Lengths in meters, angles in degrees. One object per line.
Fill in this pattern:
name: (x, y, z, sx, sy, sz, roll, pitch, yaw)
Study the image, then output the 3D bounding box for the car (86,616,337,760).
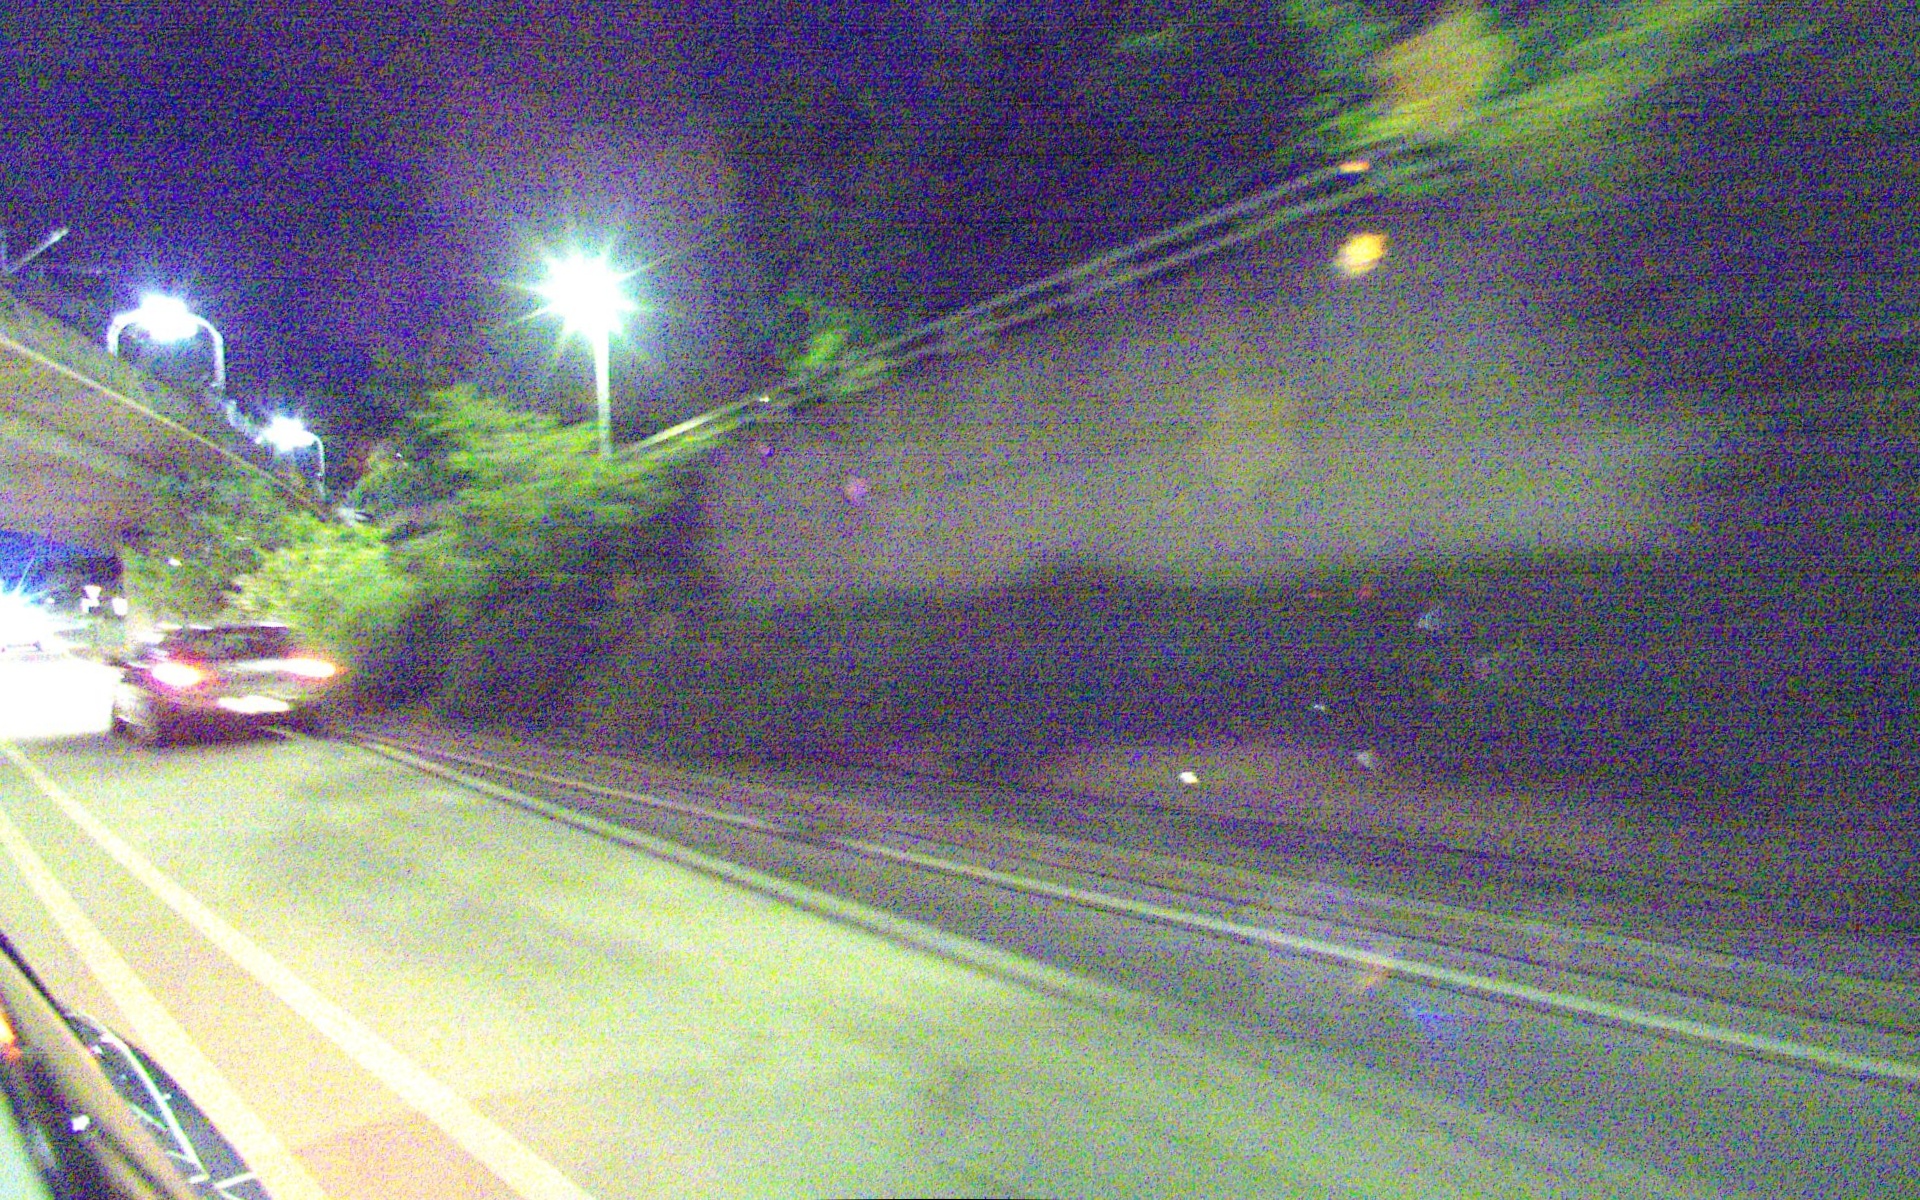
car: (-9.550, 0.981, 12.793, 4.000, 1.521, 1.838, -1, -1, 43)

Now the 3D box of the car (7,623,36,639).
car: (-100.091, 3.305, 107.986, 1.857, 1.566, 4.226, -1, 0, -38)

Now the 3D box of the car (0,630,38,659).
car: (-54.658, 2.536, 58.481, 4.174, 1.458, 1.768, 0, 1, 45)
